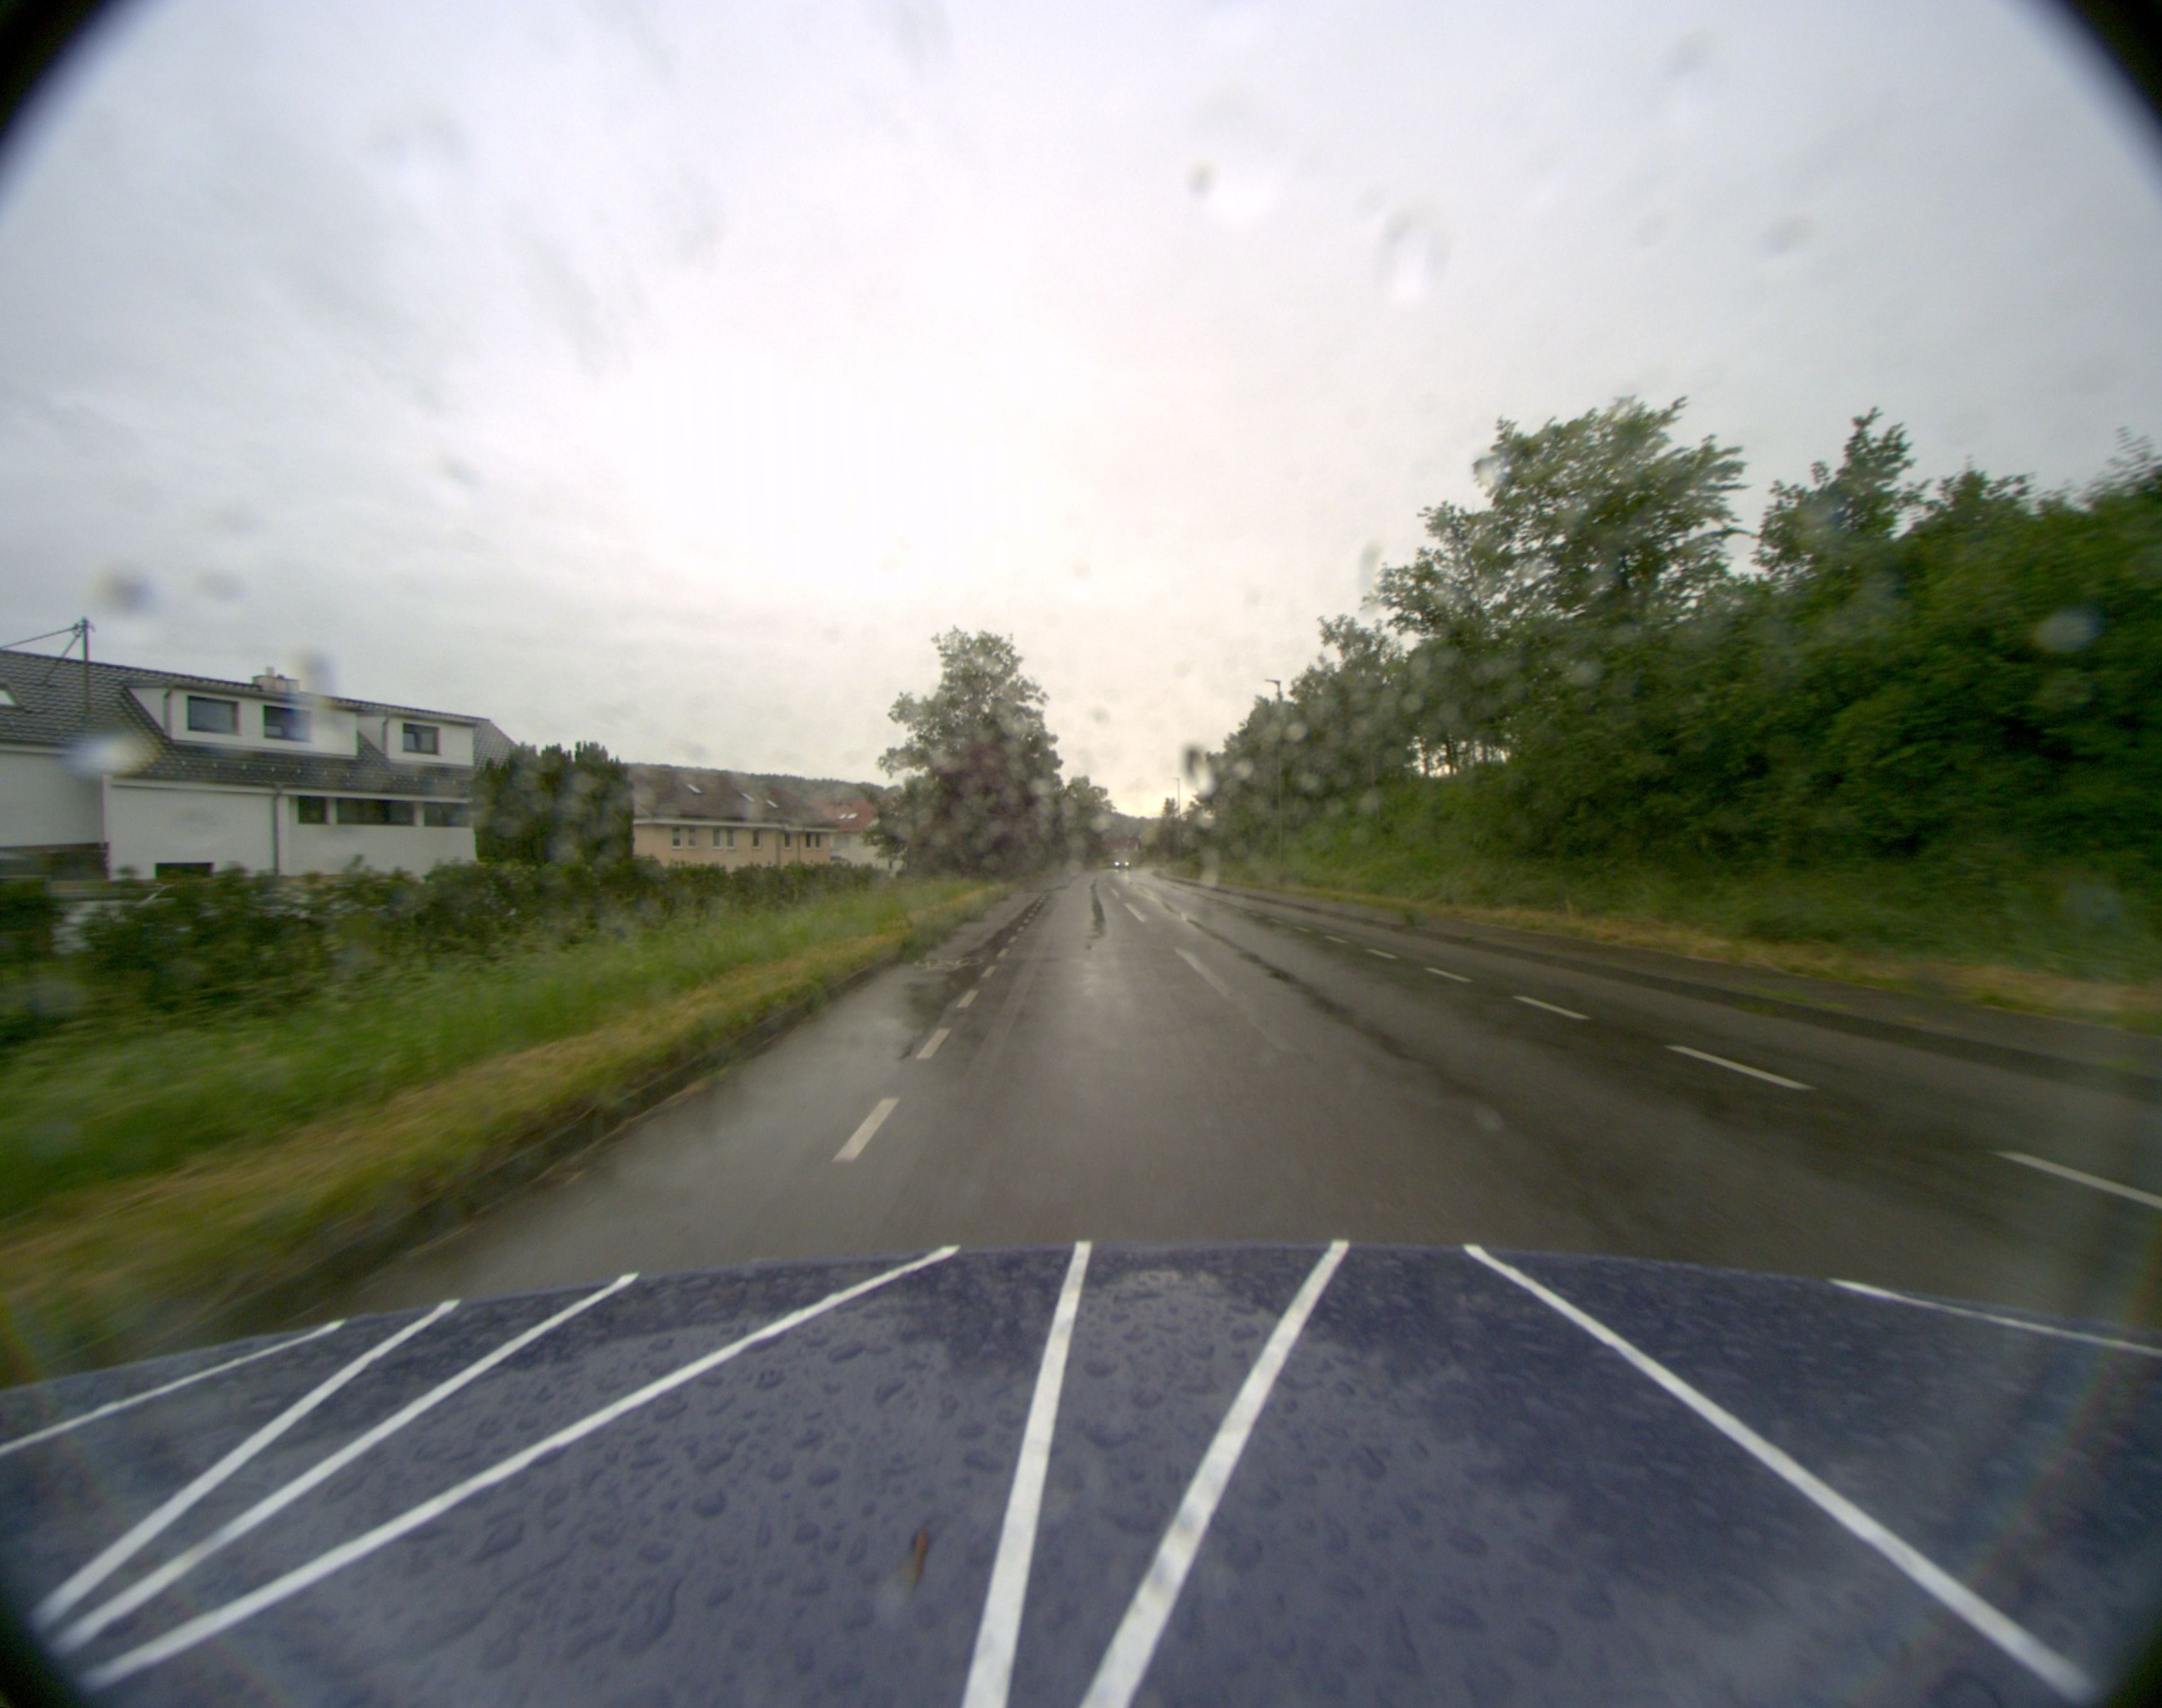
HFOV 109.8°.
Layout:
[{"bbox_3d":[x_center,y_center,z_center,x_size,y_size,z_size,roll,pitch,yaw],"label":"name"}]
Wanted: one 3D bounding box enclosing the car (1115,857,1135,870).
[{"bbox_3d":[6.383,1.363,110.611,1.996,1.831,4.005,-1,0,18],"label":"car"}]
